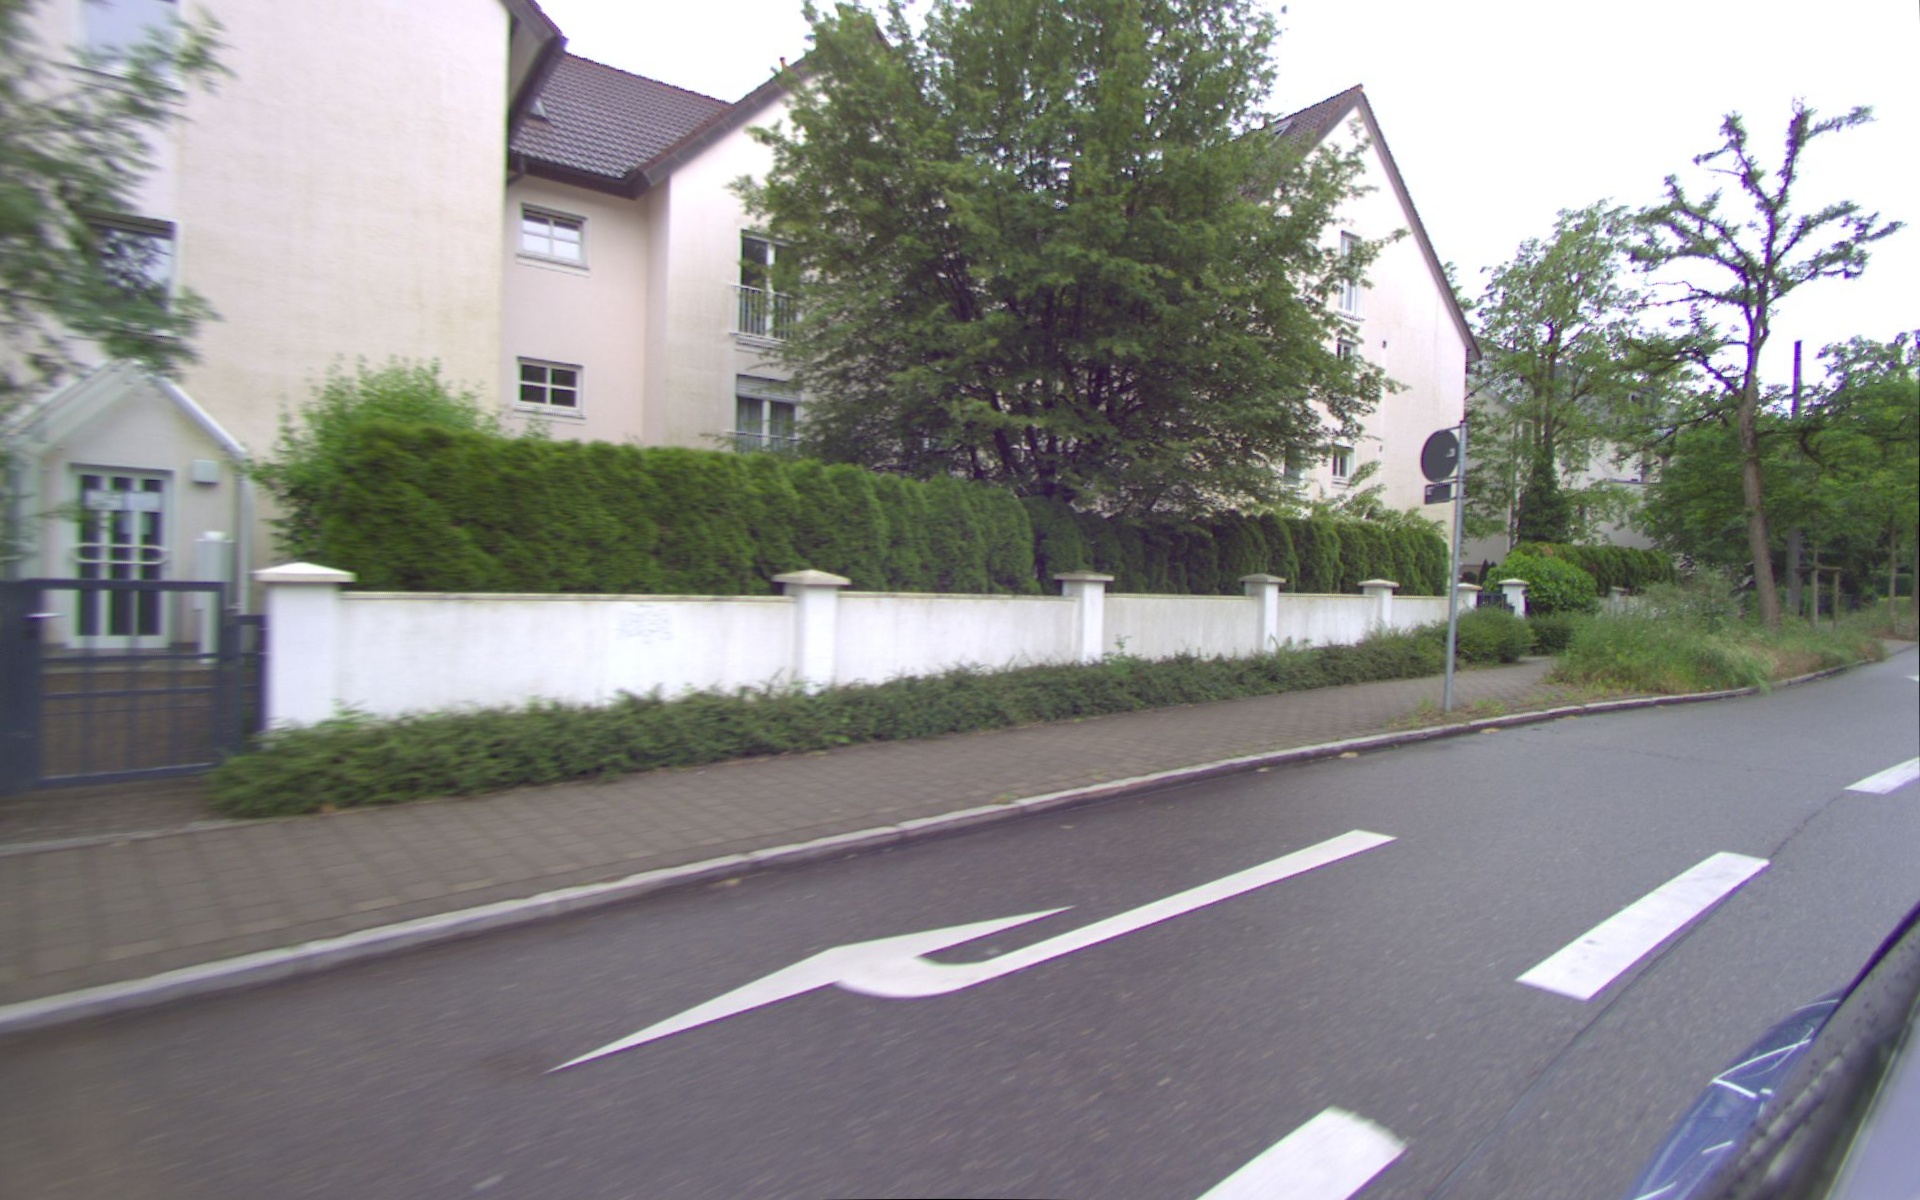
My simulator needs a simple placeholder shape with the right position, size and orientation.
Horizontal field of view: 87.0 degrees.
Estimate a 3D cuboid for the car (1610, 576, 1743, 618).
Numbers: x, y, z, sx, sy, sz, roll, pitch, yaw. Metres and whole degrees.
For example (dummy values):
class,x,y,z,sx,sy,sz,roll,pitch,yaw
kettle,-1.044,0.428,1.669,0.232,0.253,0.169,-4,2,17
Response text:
class,x,y,z,sx,sy,sz,roll,pitch,yaw
car,25.960,-0.130,36.790,1.506,1.382,3.640,0,2,-33
